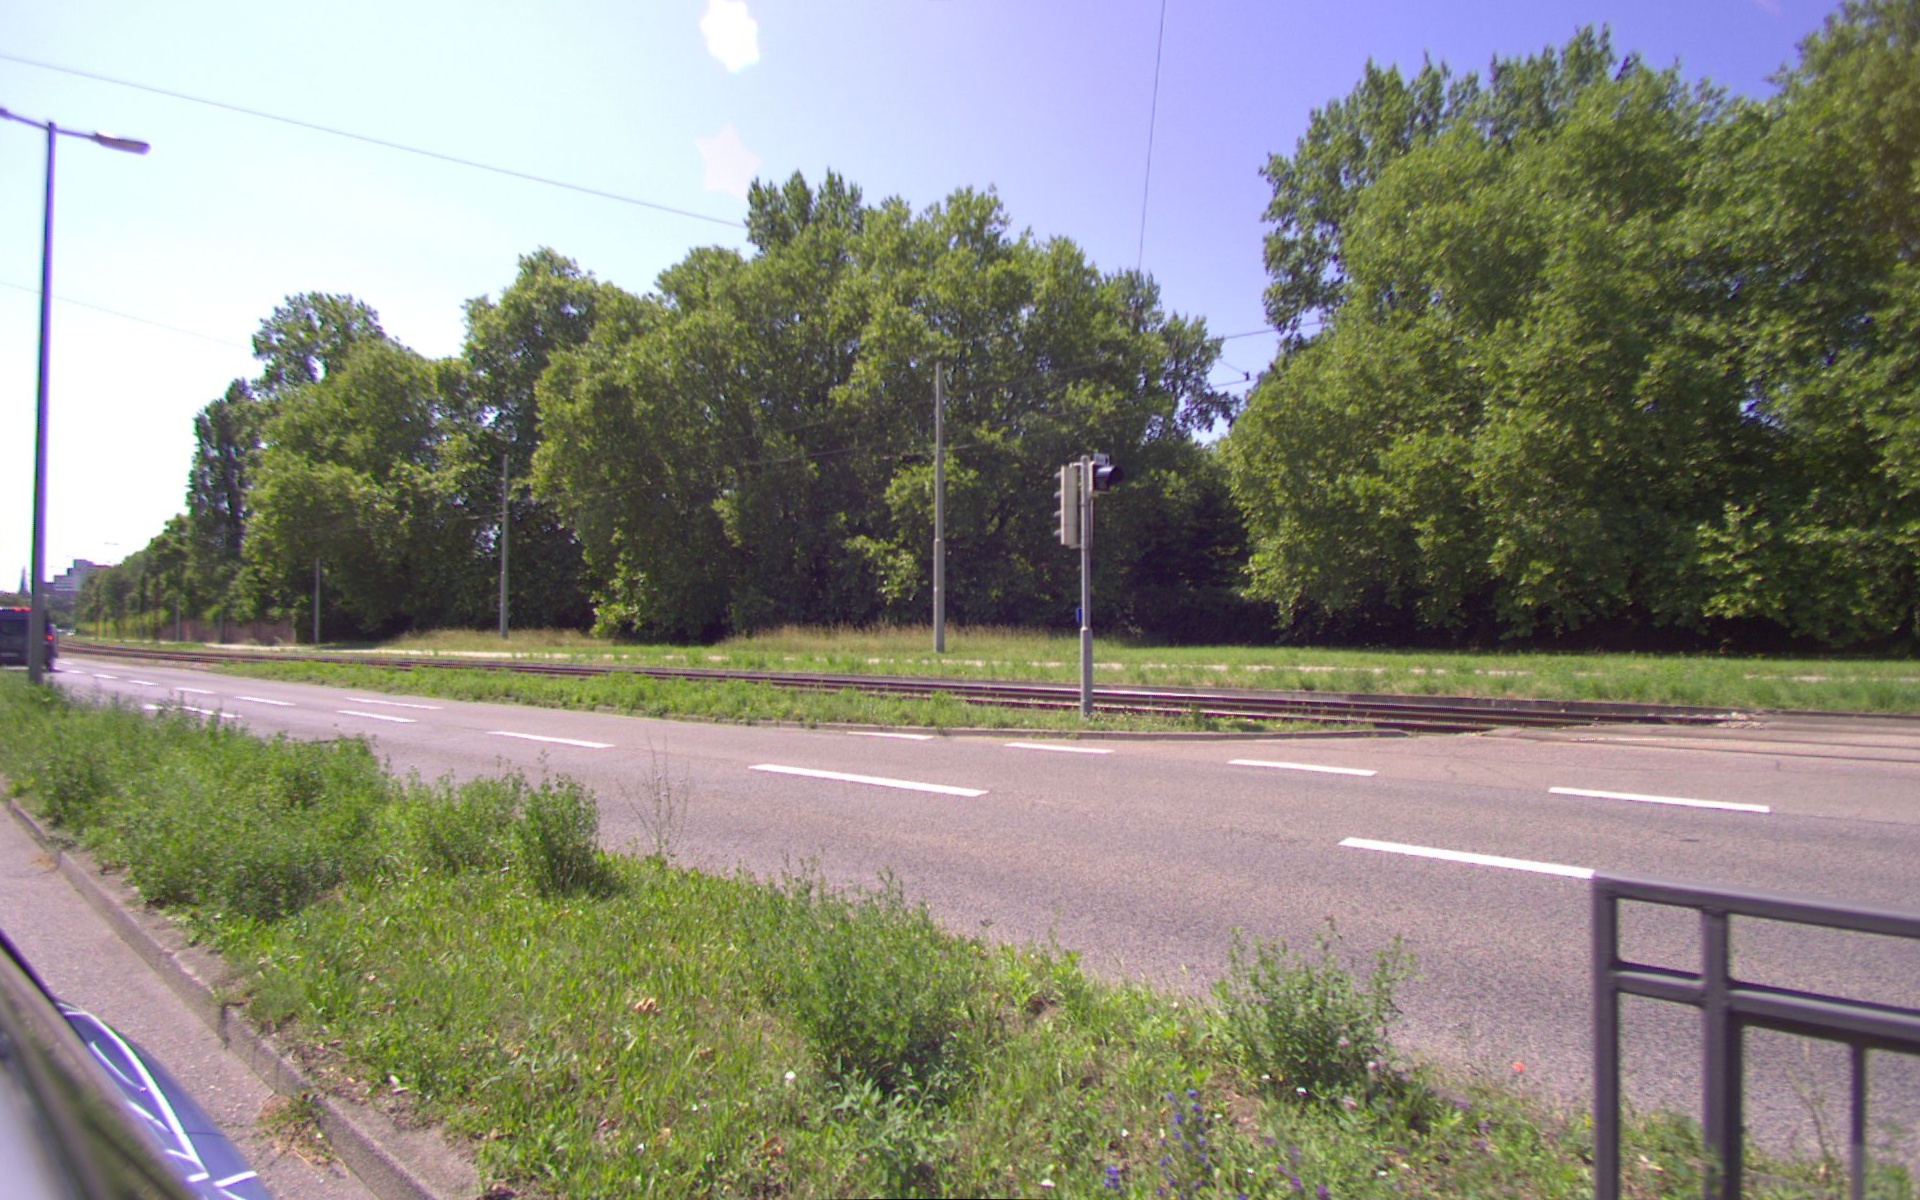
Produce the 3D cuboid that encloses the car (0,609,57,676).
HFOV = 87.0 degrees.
[{"bbox_3d":[-35.958,1.610,38.227,5.368,2.384,1.973,-2,-3,40],"label":"car"}]
